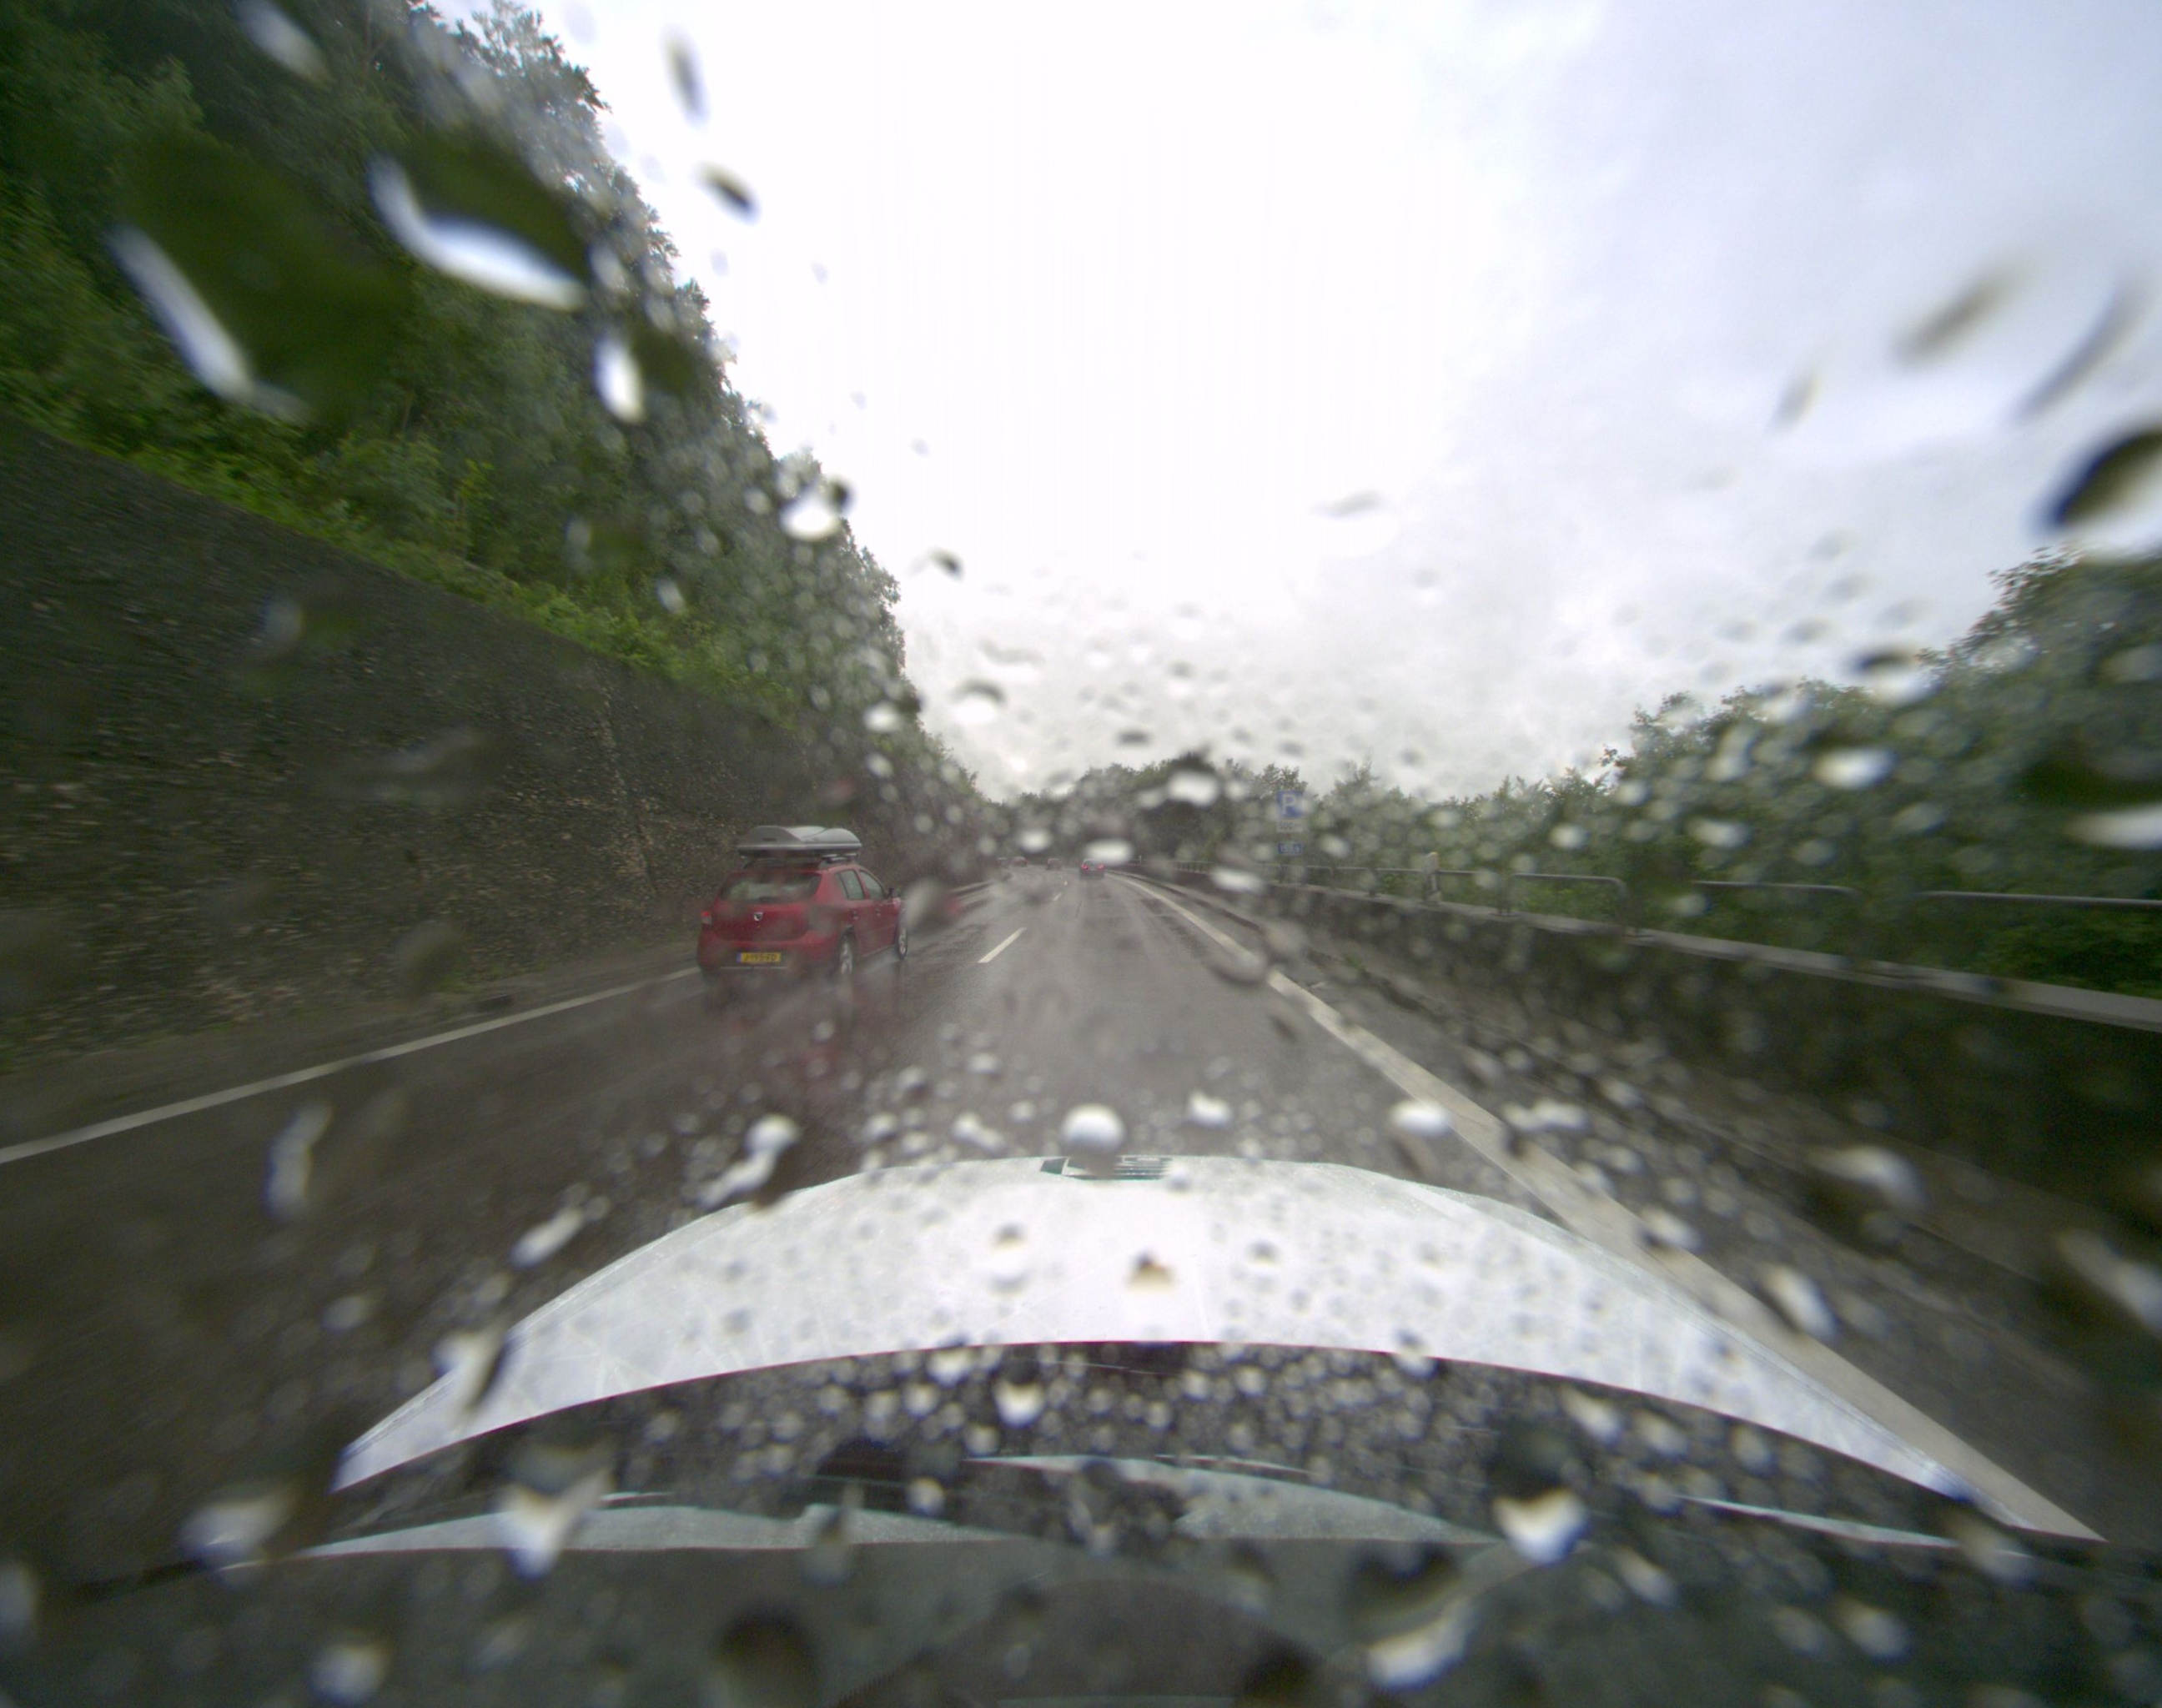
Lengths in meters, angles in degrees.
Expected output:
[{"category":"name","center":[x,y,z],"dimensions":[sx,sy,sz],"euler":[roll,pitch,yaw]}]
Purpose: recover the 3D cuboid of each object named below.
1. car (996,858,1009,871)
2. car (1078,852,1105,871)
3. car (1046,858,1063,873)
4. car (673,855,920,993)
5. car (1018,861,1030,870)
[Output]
[{"category":"car","center":[-12.276,1.597,127.028],"dimensions":[1.991,1.904,3.992],"euler":[-1,-1,-6]},{"category":"car","center":[0.745,0.581,61.234],"dimensions":[1.796,1.307,3.995],"euler":[-1,0,-3]},{"category":"car","center":[-3.342,1.461,102.725],"dimensions":[1.990,1.750,3.993],"euler":[-1,-1,-5]},{"category":"car","center":[-3.708,0.818,11.471],"dimensions":[1.987,1.552,4.000],"euler":[-1,0,1]},{"category":"car","center":[-9.505,1.883,135.679],"dimensions":[1.798,1.467,3.991],"euler":[-1,0,-7]}]
